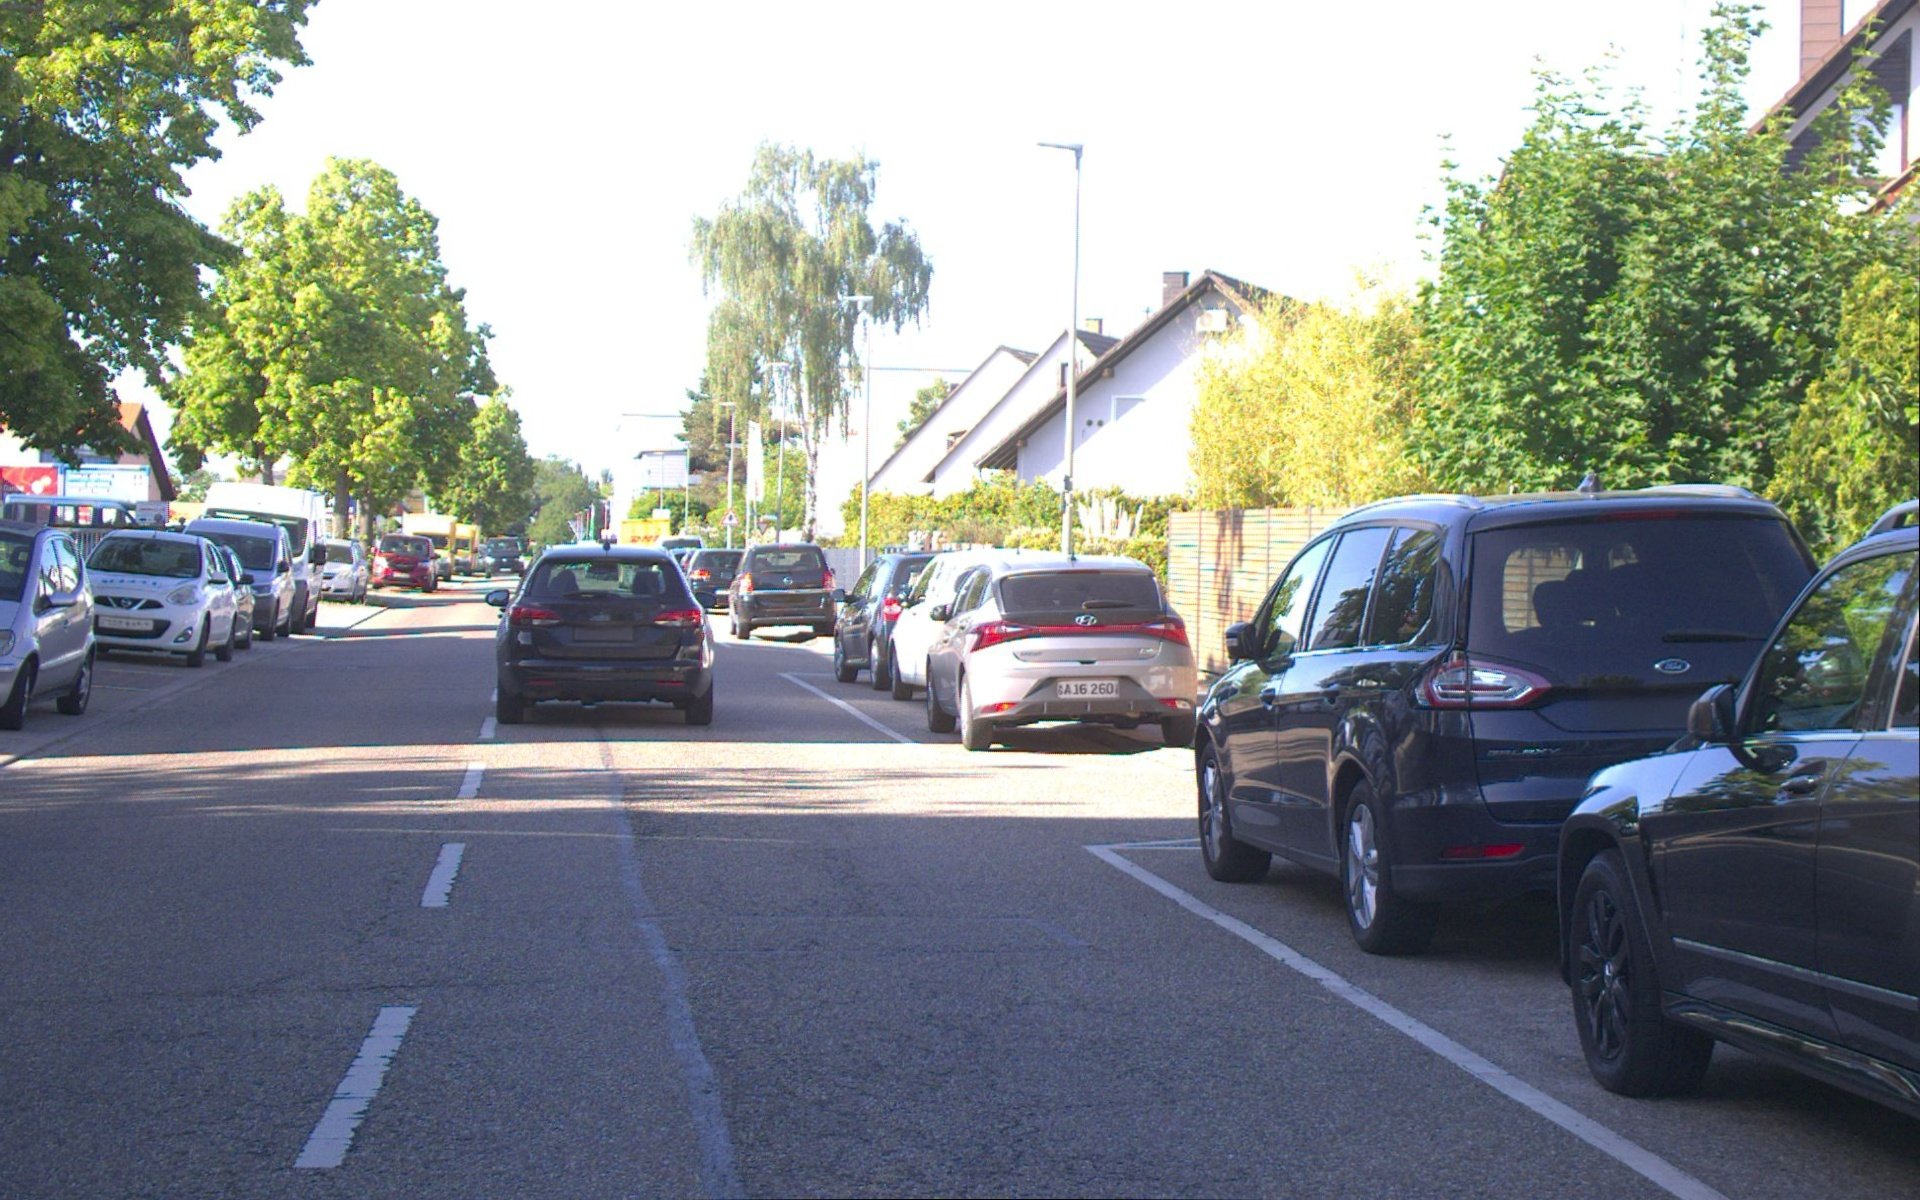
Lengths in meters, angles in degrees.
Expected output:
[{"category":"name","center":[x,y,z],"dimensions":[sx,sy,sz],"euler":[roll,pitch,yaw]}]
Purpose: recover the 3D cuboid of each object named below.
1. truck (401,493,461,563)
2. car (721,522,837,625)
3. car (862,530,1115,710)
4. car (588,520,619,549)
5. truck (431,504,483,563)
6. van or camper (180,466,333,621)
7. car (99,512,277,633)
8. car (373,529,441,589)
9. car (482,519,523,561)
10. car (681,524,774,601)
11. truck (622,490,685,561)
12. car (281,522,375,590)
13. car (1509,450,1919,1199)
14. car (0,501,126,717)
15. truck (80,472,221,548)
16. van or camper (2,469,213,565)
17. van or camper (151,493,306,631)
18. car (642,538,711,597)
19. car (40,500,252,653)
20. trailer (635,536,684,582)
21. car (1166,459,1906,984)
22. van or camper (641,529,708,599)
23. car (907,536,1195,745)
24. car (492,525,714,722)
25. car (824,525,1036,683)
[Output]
[{"category":"truck","center":[-23.831,-3.222,155.185],"dimensions":[2.402,2.973,7.247],"euler":[3,0,-8]},{"category":"car","center":[-3.176,-0.481,59.726],"dimensions":[1.775,1.653,4.304],"euler":[2,1,-5]},{"category":"car","center":[0.215,0.151,33.601],"dimensions":[1.723,1.595,3.817],"euler":[2,1,-10]},{"category":"car","center":[-23.290,-4.261,224.723],"dimensions":[1.918,1.819,4.081],"euler":[2,1,-7]},{"category":"truck","center":[-27.071,-3.577,185.255],"dimensions":[2.402,2.973,6.375],"euler":[3,0,-6]},{"category":"van or camper","center":[-12.248,-0.996,60.168],"dimensions":[2.122,2.481,5.557],"euler":[2,1,-7]},{"category":"car","center":[-10.389,-0.390,46.518],"dimensions":[1.609,1.430,4.314],"euler":[5,1,-4]},{"category":"car","center":[-17.384,-1.286,108.274],"dimensions":[1.803,1.746,4.343],"euler":[4,0,-6]},{"category":"car","center":[-22.456,-2.958,168.892],"dimensions":[1.894,2.024,4.819],"euler":[0,1,-6]},{"category":"car","center":[-5.386,-0.875,79.179],"dimensions":[1.775,1.653,3.817],"euler":[2,1,-8]},{"category":"truck","center":[-12.962,-3.098,144.925],"dimensions":[2.402,2.926,7.018],"euler":[-1,1,-7]},{"category":"car","center":[-14.876,-1.052,81.131],"dimensions":[1.686,1.430,4.209],"euler":[4,1,-5]},{"category":"car","center":[2.798,0.519,8.143],"dimensions":[1.762,1.670,4.395],"euler":[1,1,-7]},{"category":"car","center":[-8.110,-0.022,28.123],"dimensions":[1.721,1.587,3.909],"euler":[7,0,-5]},{"category":"truck","center":[-37.203,-4.125,158.033],"dimensions":[5.669,3.109,2.522],"euler":[3,1,5]},{"category":"van or camper","center":[-22.680,-2.204,91.580],"dimensions":[4.893,2.312,2.243],"euler":[2,0,6]},{"category":"van or camper","center":[-11.434,-0.618,53.976],"dimensions":[1.877,2.007,4.280],"euler":[2,1,-6]},{"category":"car","center":[-7.700,-0.900,93.174],"dimensions":[1.718,1.499,3.564],"euler":[2,1,-6]},{"category":"car","center":[-9.490,-0.297,40.329],"dimensions":[1.692,1.560,3.907],"euler":[5,1,-4]},{"category":"trailer","center":[-10.590,-1.444,120.976],"dimensions":[1.627,1.533,3.199],"euler":[2,1,-6]},{"category":"car","center":[2.153,0.388,14.199],"dimensions":[1.742,1.807,4.430],"euler":[1,1,-8]},{"category":"van or camper","center":[-8.203,-1.047,98.606],"dimensions":[1.718,1.884,4.180],"euler":[2,1,-6]},{"category":"car","center":[0.643,0.267,27.154],"dimensions":[1.641,1.489,3.890],"euler":[1,1,-8]},{"category":"car","center":[-3.002,0.154,29.056],"dimensions":[1.711,1.527,3.688],"euler":[1,1,-6]},{"category":"car","center":[-0.384,0.002,37.957],"dimensions":[1.656,1.595,3.817],"euler":[2,1,-10]}]
